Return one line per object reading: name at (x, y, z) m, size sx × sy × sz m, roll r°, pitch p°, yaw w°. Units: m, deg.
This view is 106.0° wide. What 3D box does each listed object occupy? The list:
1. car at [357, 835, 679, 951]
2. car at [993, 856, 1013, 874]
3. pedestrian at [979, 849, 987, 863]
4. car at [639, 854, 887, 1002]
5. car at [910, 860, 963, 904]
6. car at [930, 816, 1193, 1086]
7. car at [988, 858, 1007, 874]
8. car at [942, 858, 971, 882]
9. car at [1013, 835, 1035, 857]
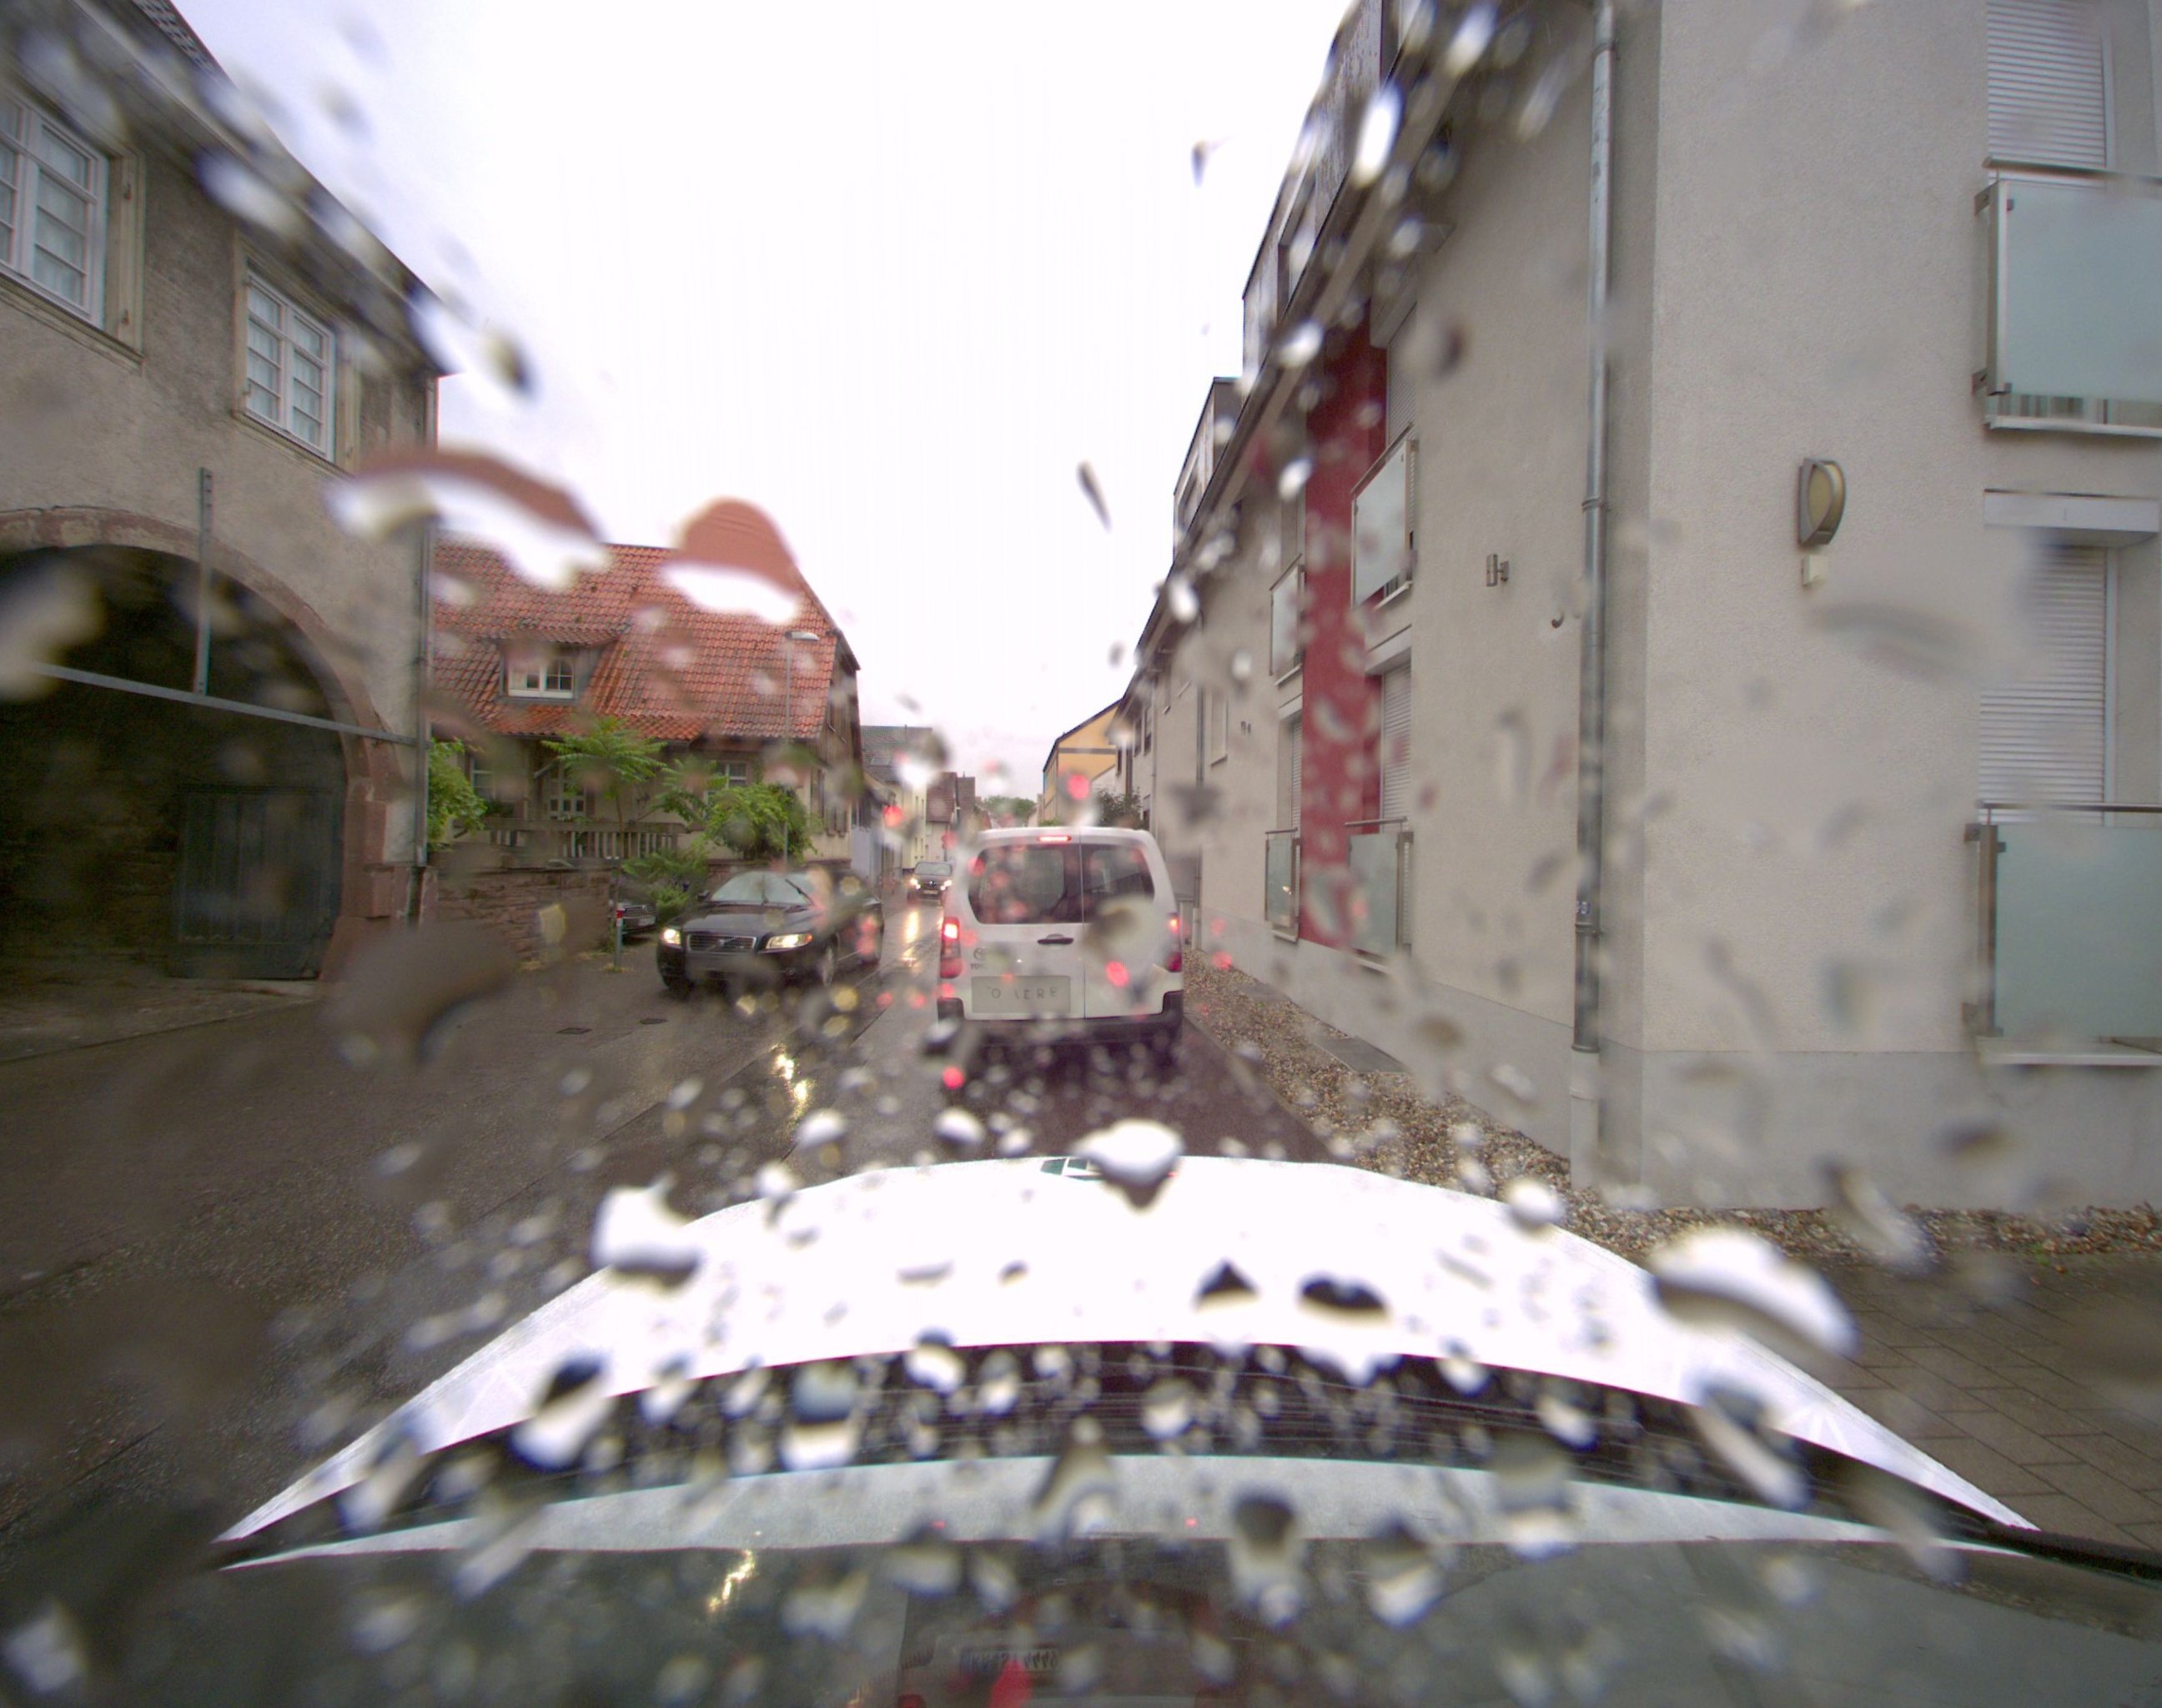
car at (-9.124, 0.612, 13.438) m, size 3.973 × 1.425 × 1.736 m, roll 5°, pitch -1°, yaw 1°
car at (-6.549, 0.894, 68.121) m, size 1.559 × 1.477 × 3.989 m, roll 0°, pitch -1°, yaw -7°
pedestrian at (-13.095, 0.308, 108.890) m, size 1.049 × 1.893 × 0.875 m, roll 0°, pitch -1°, yaw -7°
car at (-3.774, 0.784, 10.538) m, size 1.692 × 1.509 × 4.336 m, roll 0°, pitch -1°, yaw -3°
car at (-5.296, 1.002, 30.259) m, size 1.602 × 1.513 × 3.681 m, roll 1°, pitch 0°, yaw -5°
car at (-0.337, 0.649, 7.458) m, size 1.773 × 1.780 × 3.991 m, roll 0°, pitch -1°, yaw -7°
car at (-7.939, 1.120, 77.216) m, size 1.778 × 1.395 × 3.989 m, roll 0°, pitch -1°, yaw -7°
car at (-8.378, 1.058, 55.019) m, size 1.831 × 1.556 × 4.228 m, roll 1°, pitch -1°, yaw -7°
car at (-5.311, -0.701, 76.674) m, size 1.989 × 2.014 × 3.995 m, roll 0°, pitch -1°, yaw -3°
